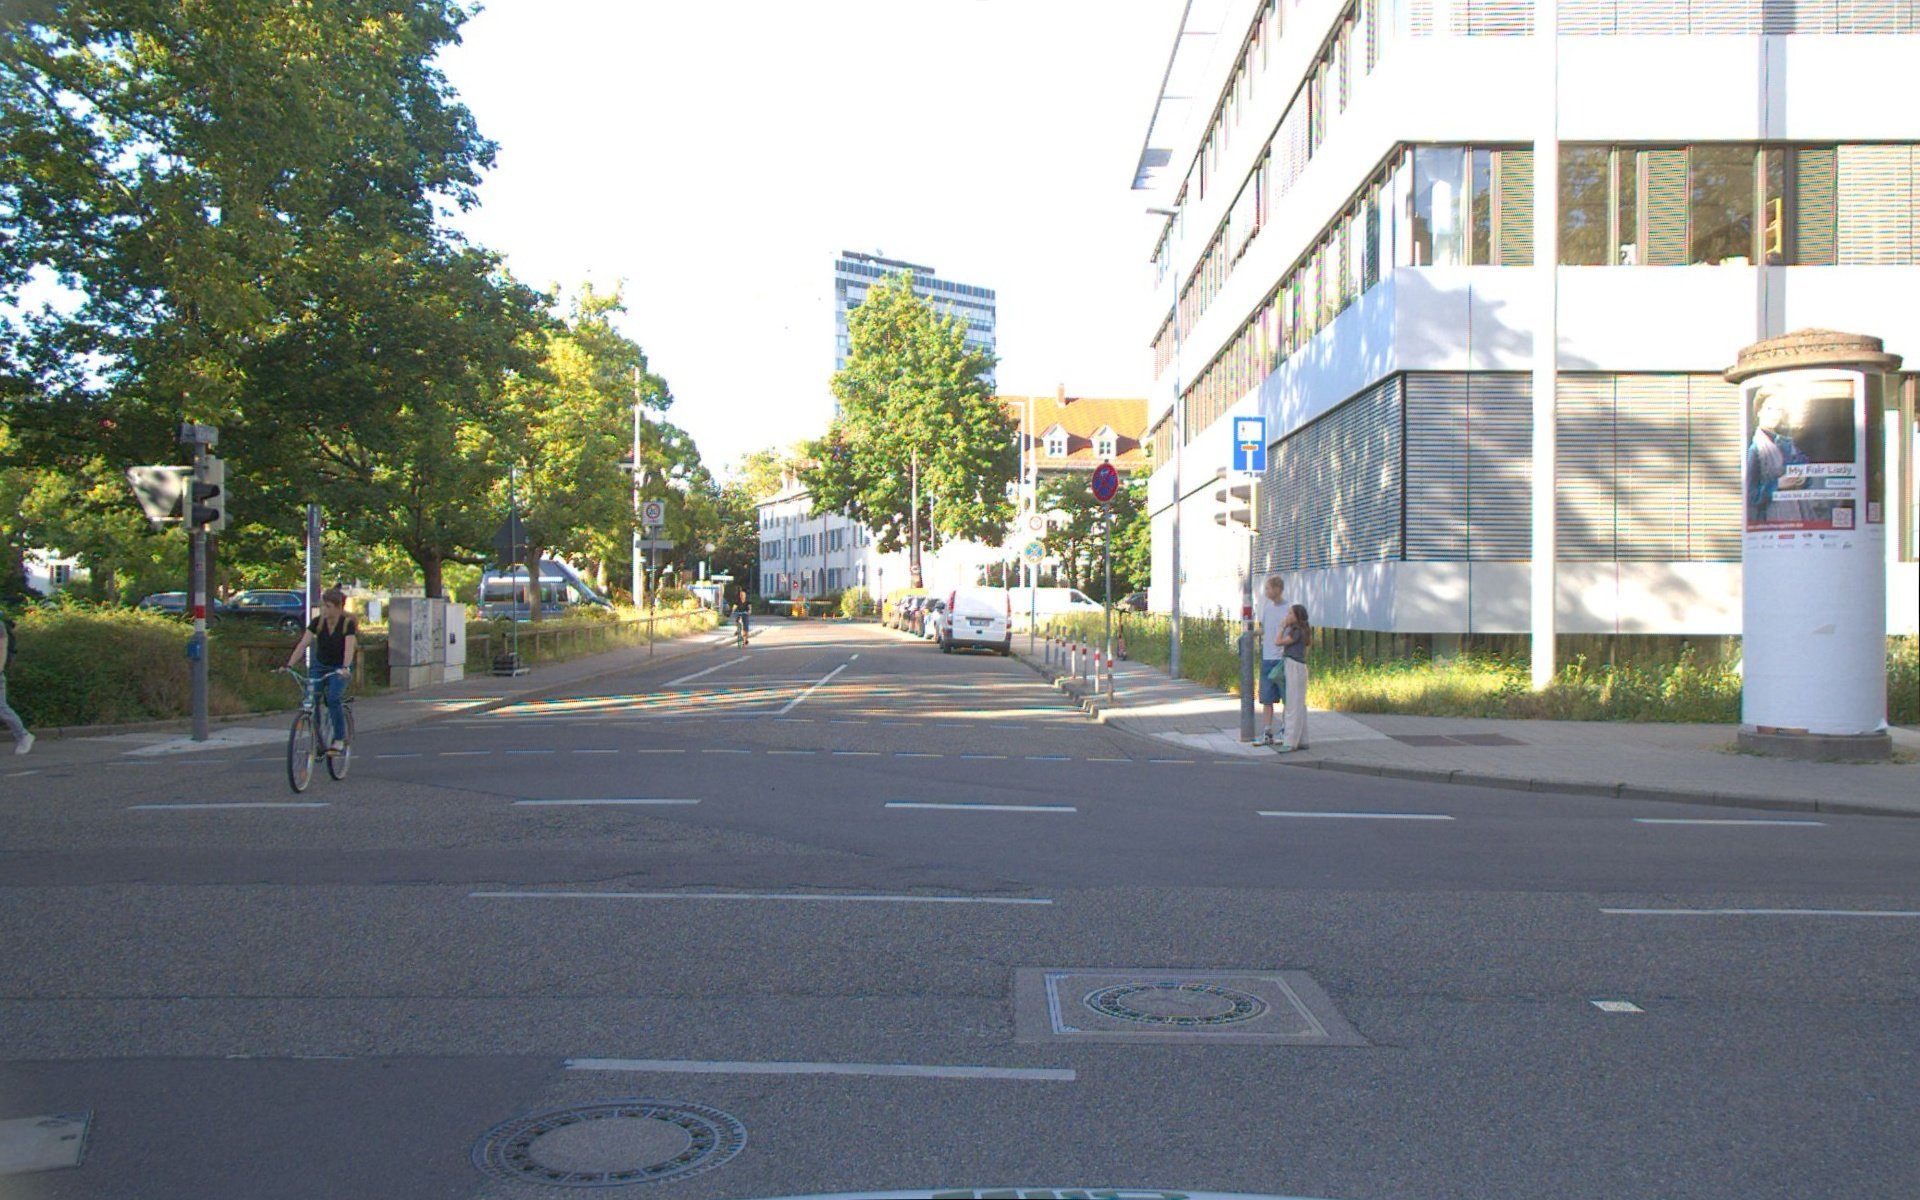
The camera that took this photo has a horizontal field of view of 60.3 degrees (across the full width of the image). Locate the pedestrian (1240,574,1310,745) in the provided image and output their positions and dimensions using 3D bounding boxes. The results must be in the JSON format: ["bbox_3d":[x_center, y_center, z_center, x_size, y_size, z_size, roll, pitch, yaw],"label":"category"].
[{"bbox_3d":[3.565,0.661,18.708,0.548,1.883,0.677,-3,0,24],"label":"pedestrian"}]

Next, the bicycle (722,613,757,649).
[{"bbox_3d":[-6.762,0.943,50.779,0.848,1.027,2.413,-2,0,-3],"label":"bicycle"}]

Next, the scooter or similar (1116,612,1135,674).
[{"bbox_3d":[3.963,1.019,39.622,0.323,1.449,1.335,2,-1,2],"label":"scooter or similar"}]

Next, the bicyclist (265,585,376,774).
[{"bbox_3d":[-5.433,0.657,14.097,0.603,1.559,0.903,0,0,-1],"label":"bicyclist"}]

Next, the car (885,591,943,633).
[{"bbox_3d":[-2.062,0.508,72.809,1.854,1.684,4.404,1,1,-10],"label":"car"}]

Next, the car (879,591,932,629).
[{"bbox_3d":[-2.585,0.441,77.837,1.854,1.684,4.404,1,1,-10],"label":"car"}]

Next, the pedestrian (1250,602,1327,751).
[{"bbox_3d":[3.590,0.822,18.091,0.549,1.567,0.675,-3,0,-10],"label":"pedestrian"}]

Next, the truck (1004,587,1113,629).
[{"bbox_3d":[5.006,0.418,84.434,5.242,2.049,1.995,1,0,-11],"label":"truck"}]

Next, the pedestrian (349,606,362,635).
[{"bbox_3d":[-28.457,0.967,77.824,0.549,1.347,0.574,0,0,-18],"label":"pedestrian"}]

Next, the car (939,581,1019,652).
[{"bbox_3d":[0.478,0.416,46.436,2.043,1.827,4.414,1,1,-2],"label":"car"}]

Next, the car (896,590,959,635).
[{"bbox_3d":[-1.366,0.490,67.632,1.854,1.684,4.404,1,1,-10],"label":"car"}]

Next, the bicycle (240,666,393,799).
[{"bbox_3d":[-5.434,1.089,14.081,0.603,0.987,1.841,0,0,-1],"label":"bicycle"}]

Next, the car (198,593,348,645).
[{"bbox_3d":[-24.455,0.675,58.985,4.462,1.760,2.074,-1,-1,-1],"label":"car"}]

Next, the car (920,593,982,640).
[{"bbox_3d":[-0.365,0.569,60.171,1.851,1.583,4.410,1,1,-5],"label":"car"}]

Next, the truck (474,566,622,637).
[{"bbox_3d":[-14.630,0.056,58.915,4.731,2.441,2.087,1,0,-2],"label":"truck"}]

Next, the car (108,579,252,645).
[{"bbox_3d":[-29.620,0.458,62.901,4.462,2.433,2.074,-1,-1,-1],"label":"car"}]

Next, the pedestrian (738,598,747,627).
[{"bbox_3d":[-12.968,0.734,98.642,0.535,1.706,0.475,0,0,-9],"label":"pedestrian"}]

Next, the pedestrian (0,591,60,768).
[{"bbox_3d":[-9.792,0.793,16.774,0.688,1.753,0.956,-1,-1,13],"label":"pedestrian"}]

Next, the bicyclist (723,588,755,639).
[{"bbox_3d":[-6.774,0.413,50.801,0.848,1.542,1.018,-2,-1,-3],"label":"bicyclist"}]

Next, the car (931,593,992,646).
[{"bbox_3d":[0.008,0.605,54.691,1.850,1.583,4.414,1,1,-2],"label":"car"}]

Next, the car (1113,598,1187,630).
[{"bbox_3d":[9.739,0.730,84.979,3.491,1.573,1.554,1,0,-11],"label":"car"}]
